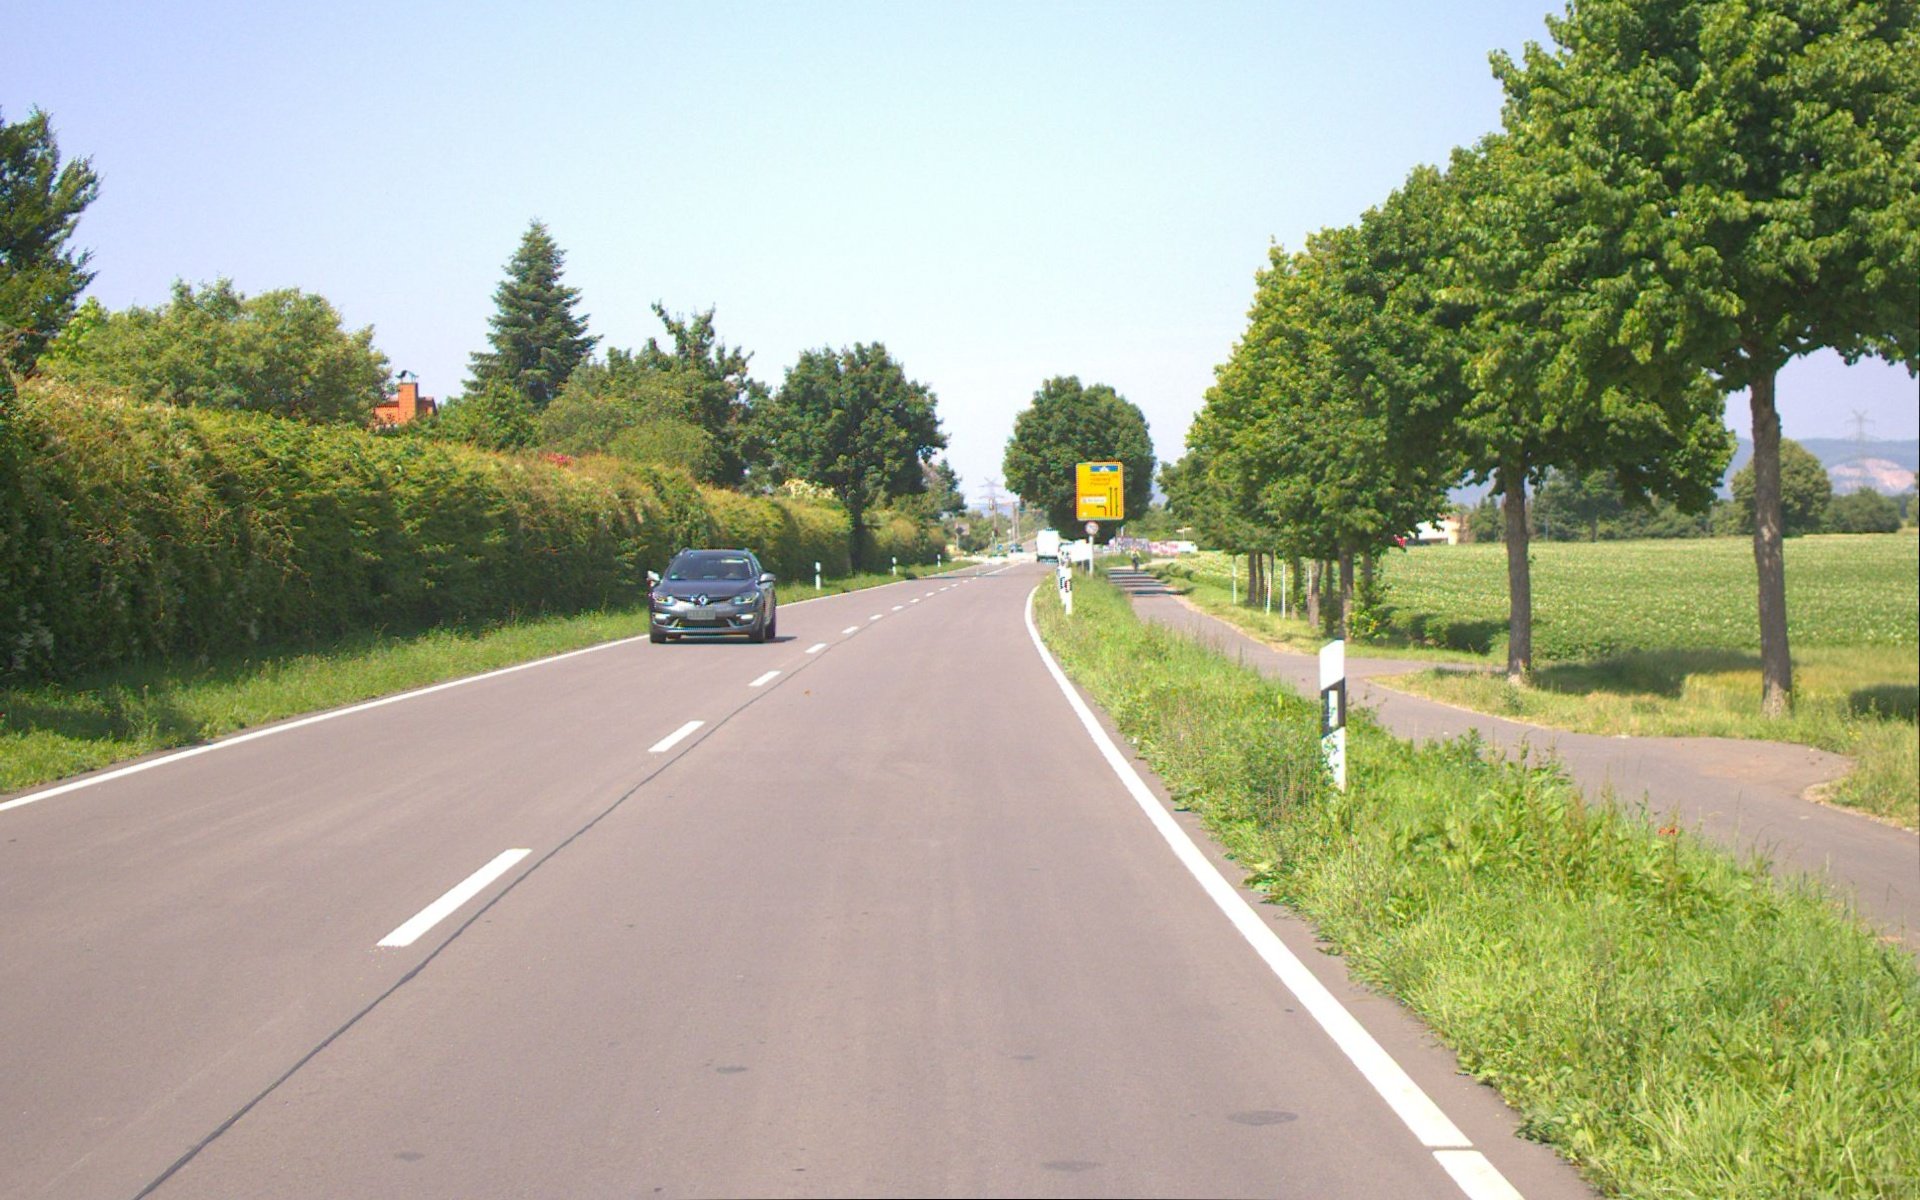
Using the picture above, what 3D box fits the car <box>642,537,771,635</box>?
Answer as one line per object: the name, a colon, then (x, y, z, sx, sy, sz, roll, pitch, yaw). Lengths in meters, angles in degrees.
car: (-3.989, -0.248, 54.608, 1.840, 1.462, 3.933, -1, 1, -1)
